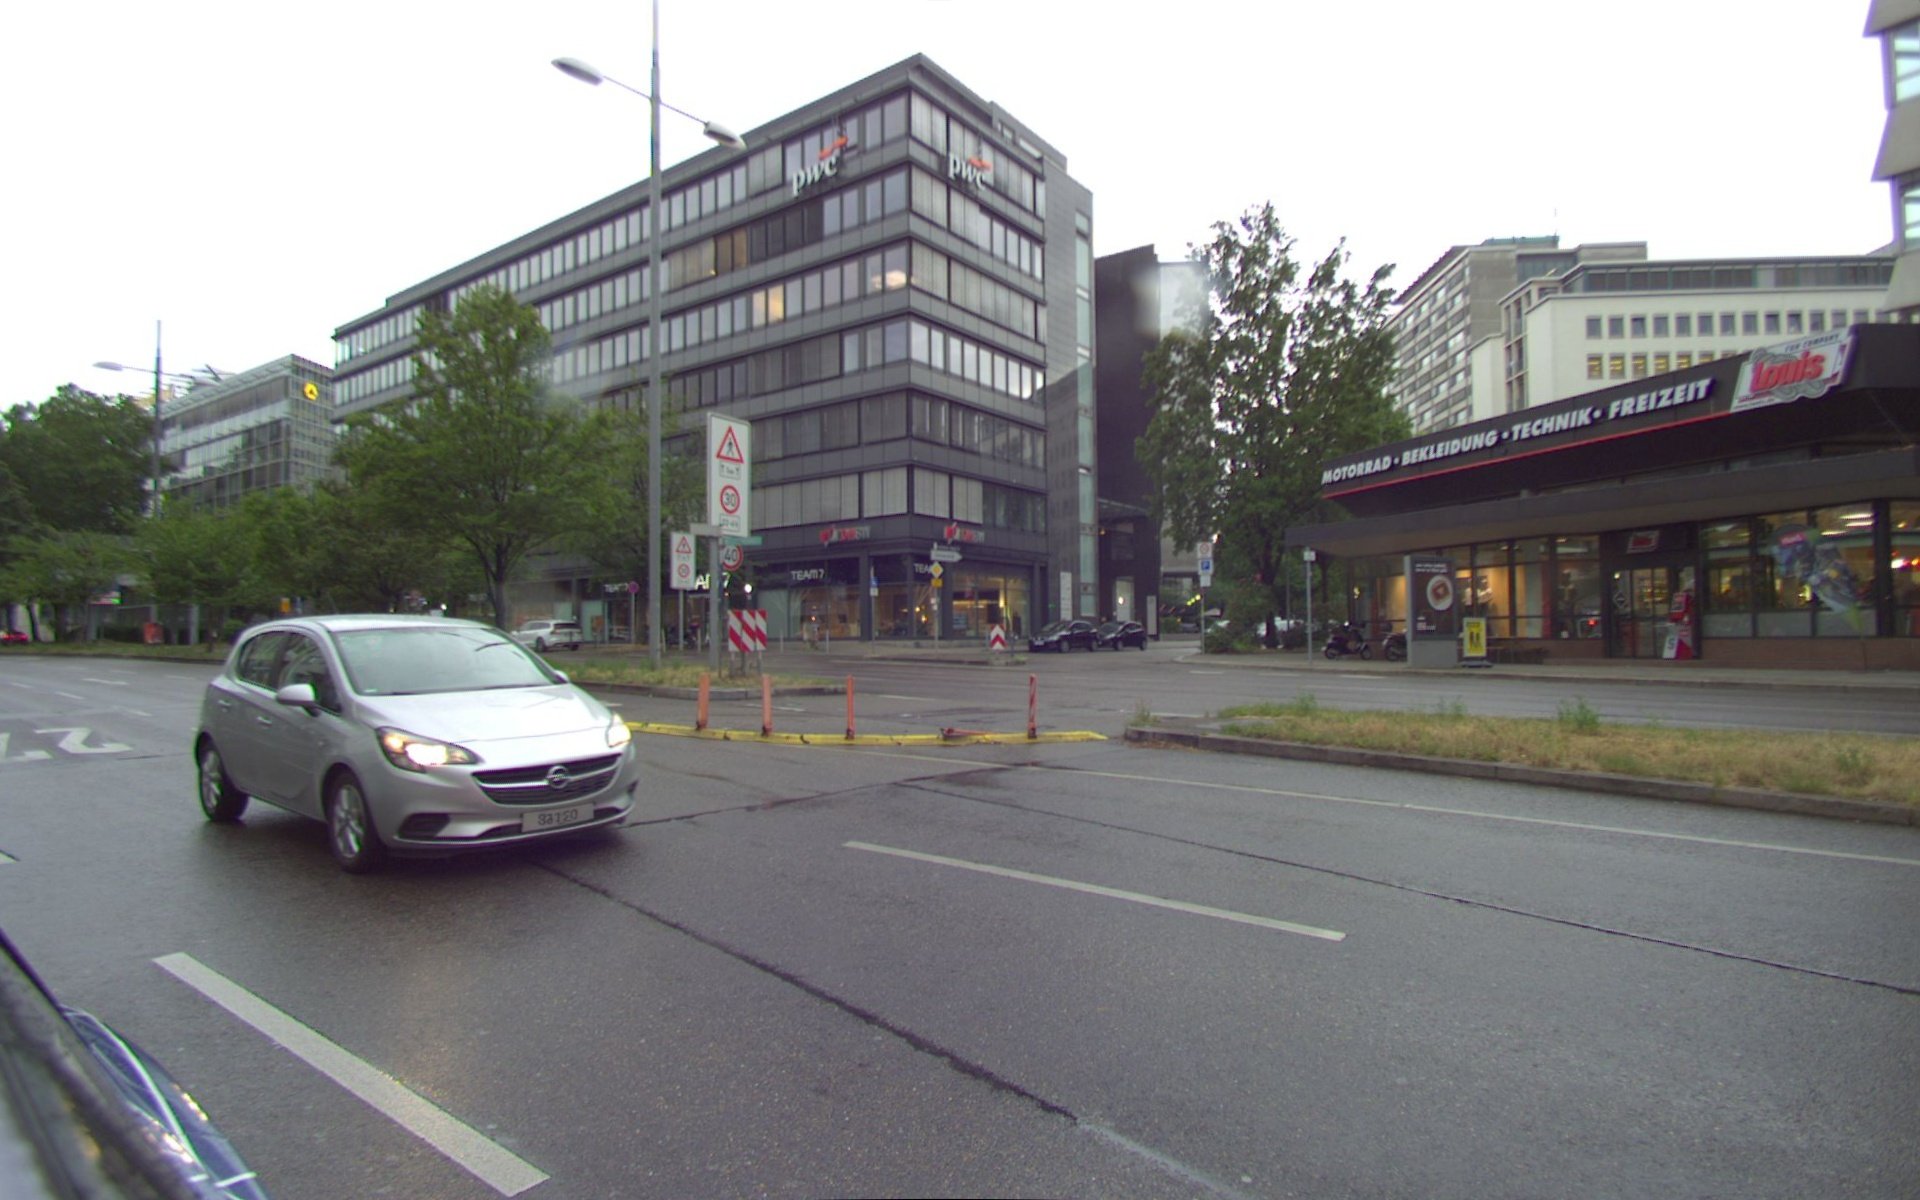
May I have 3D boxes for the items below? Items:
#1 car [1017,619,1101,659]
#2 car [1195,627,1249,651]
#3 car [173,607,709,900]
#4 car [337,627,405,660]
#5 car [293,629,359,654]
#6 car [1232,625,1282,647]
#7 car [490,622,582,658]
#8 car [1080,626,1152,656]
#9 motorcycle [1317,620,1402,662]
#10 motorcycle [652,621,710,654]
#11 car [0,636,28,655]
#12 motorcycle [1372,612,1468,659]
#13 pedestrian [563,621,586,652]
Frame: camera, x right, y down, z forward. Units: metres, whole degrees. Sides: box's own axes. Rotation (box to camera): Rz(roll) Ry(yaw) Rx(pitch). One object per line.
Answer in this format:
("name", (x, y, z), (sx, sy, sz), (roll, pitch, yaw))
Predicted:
("car", (4.507, 1.724, 45.636), (1.996, 1.652, 3.951), (-1, -1, 36))
("car", (15.949, 2.350, 61.534), (1.843, 1.298, 3.951), (-1, -1, 36))
("car", (-3.691, 0.815, 6.953), (3.864, 1.454, 1.831), (-2, -1, 38))
("car", (-29.795, 2.194, 51.171), (3.685, 1.585, 1.767), (-2, -2, 38))
("car", (-38.245, 2.496, 61.049), (4.298, 1.455, 1.794), (-2, -1, 34))
("car", (19.404, 2.336, 65.946), (1.844, 1.298, 3.950), (-1, -1, 37))
("car", (-19.997, 1.878, 47.656), (4.764, 1.496, 1.792), (-2, 2, 37))
("car", (7.620, 1.952, 49.253), (1.844, 1.298, 3.950), (-1, -1, 37))
("motorcycle", (13.572, 1.393, 34.366), (2.773, 1.343, 0.725), (-1, -1, -15))
("motorcycle", (-12.398, 1.660, 44.992), (2.344, 1.404, 0.857), (-1, 2, 10))
("car", (-82.121, 3.894, 87.306), (4.479, 1.556, 1.973), (-2, -2, 40))
("motorcycle", (14.289, 1.094, 31.438), (2.843, 1.384, 0.806), (-1, -1, -16))
("pedestrian", (-20.671, 1.934, 54.259), (0.964, 1.650, 0.776), (-2, -2, 36))
